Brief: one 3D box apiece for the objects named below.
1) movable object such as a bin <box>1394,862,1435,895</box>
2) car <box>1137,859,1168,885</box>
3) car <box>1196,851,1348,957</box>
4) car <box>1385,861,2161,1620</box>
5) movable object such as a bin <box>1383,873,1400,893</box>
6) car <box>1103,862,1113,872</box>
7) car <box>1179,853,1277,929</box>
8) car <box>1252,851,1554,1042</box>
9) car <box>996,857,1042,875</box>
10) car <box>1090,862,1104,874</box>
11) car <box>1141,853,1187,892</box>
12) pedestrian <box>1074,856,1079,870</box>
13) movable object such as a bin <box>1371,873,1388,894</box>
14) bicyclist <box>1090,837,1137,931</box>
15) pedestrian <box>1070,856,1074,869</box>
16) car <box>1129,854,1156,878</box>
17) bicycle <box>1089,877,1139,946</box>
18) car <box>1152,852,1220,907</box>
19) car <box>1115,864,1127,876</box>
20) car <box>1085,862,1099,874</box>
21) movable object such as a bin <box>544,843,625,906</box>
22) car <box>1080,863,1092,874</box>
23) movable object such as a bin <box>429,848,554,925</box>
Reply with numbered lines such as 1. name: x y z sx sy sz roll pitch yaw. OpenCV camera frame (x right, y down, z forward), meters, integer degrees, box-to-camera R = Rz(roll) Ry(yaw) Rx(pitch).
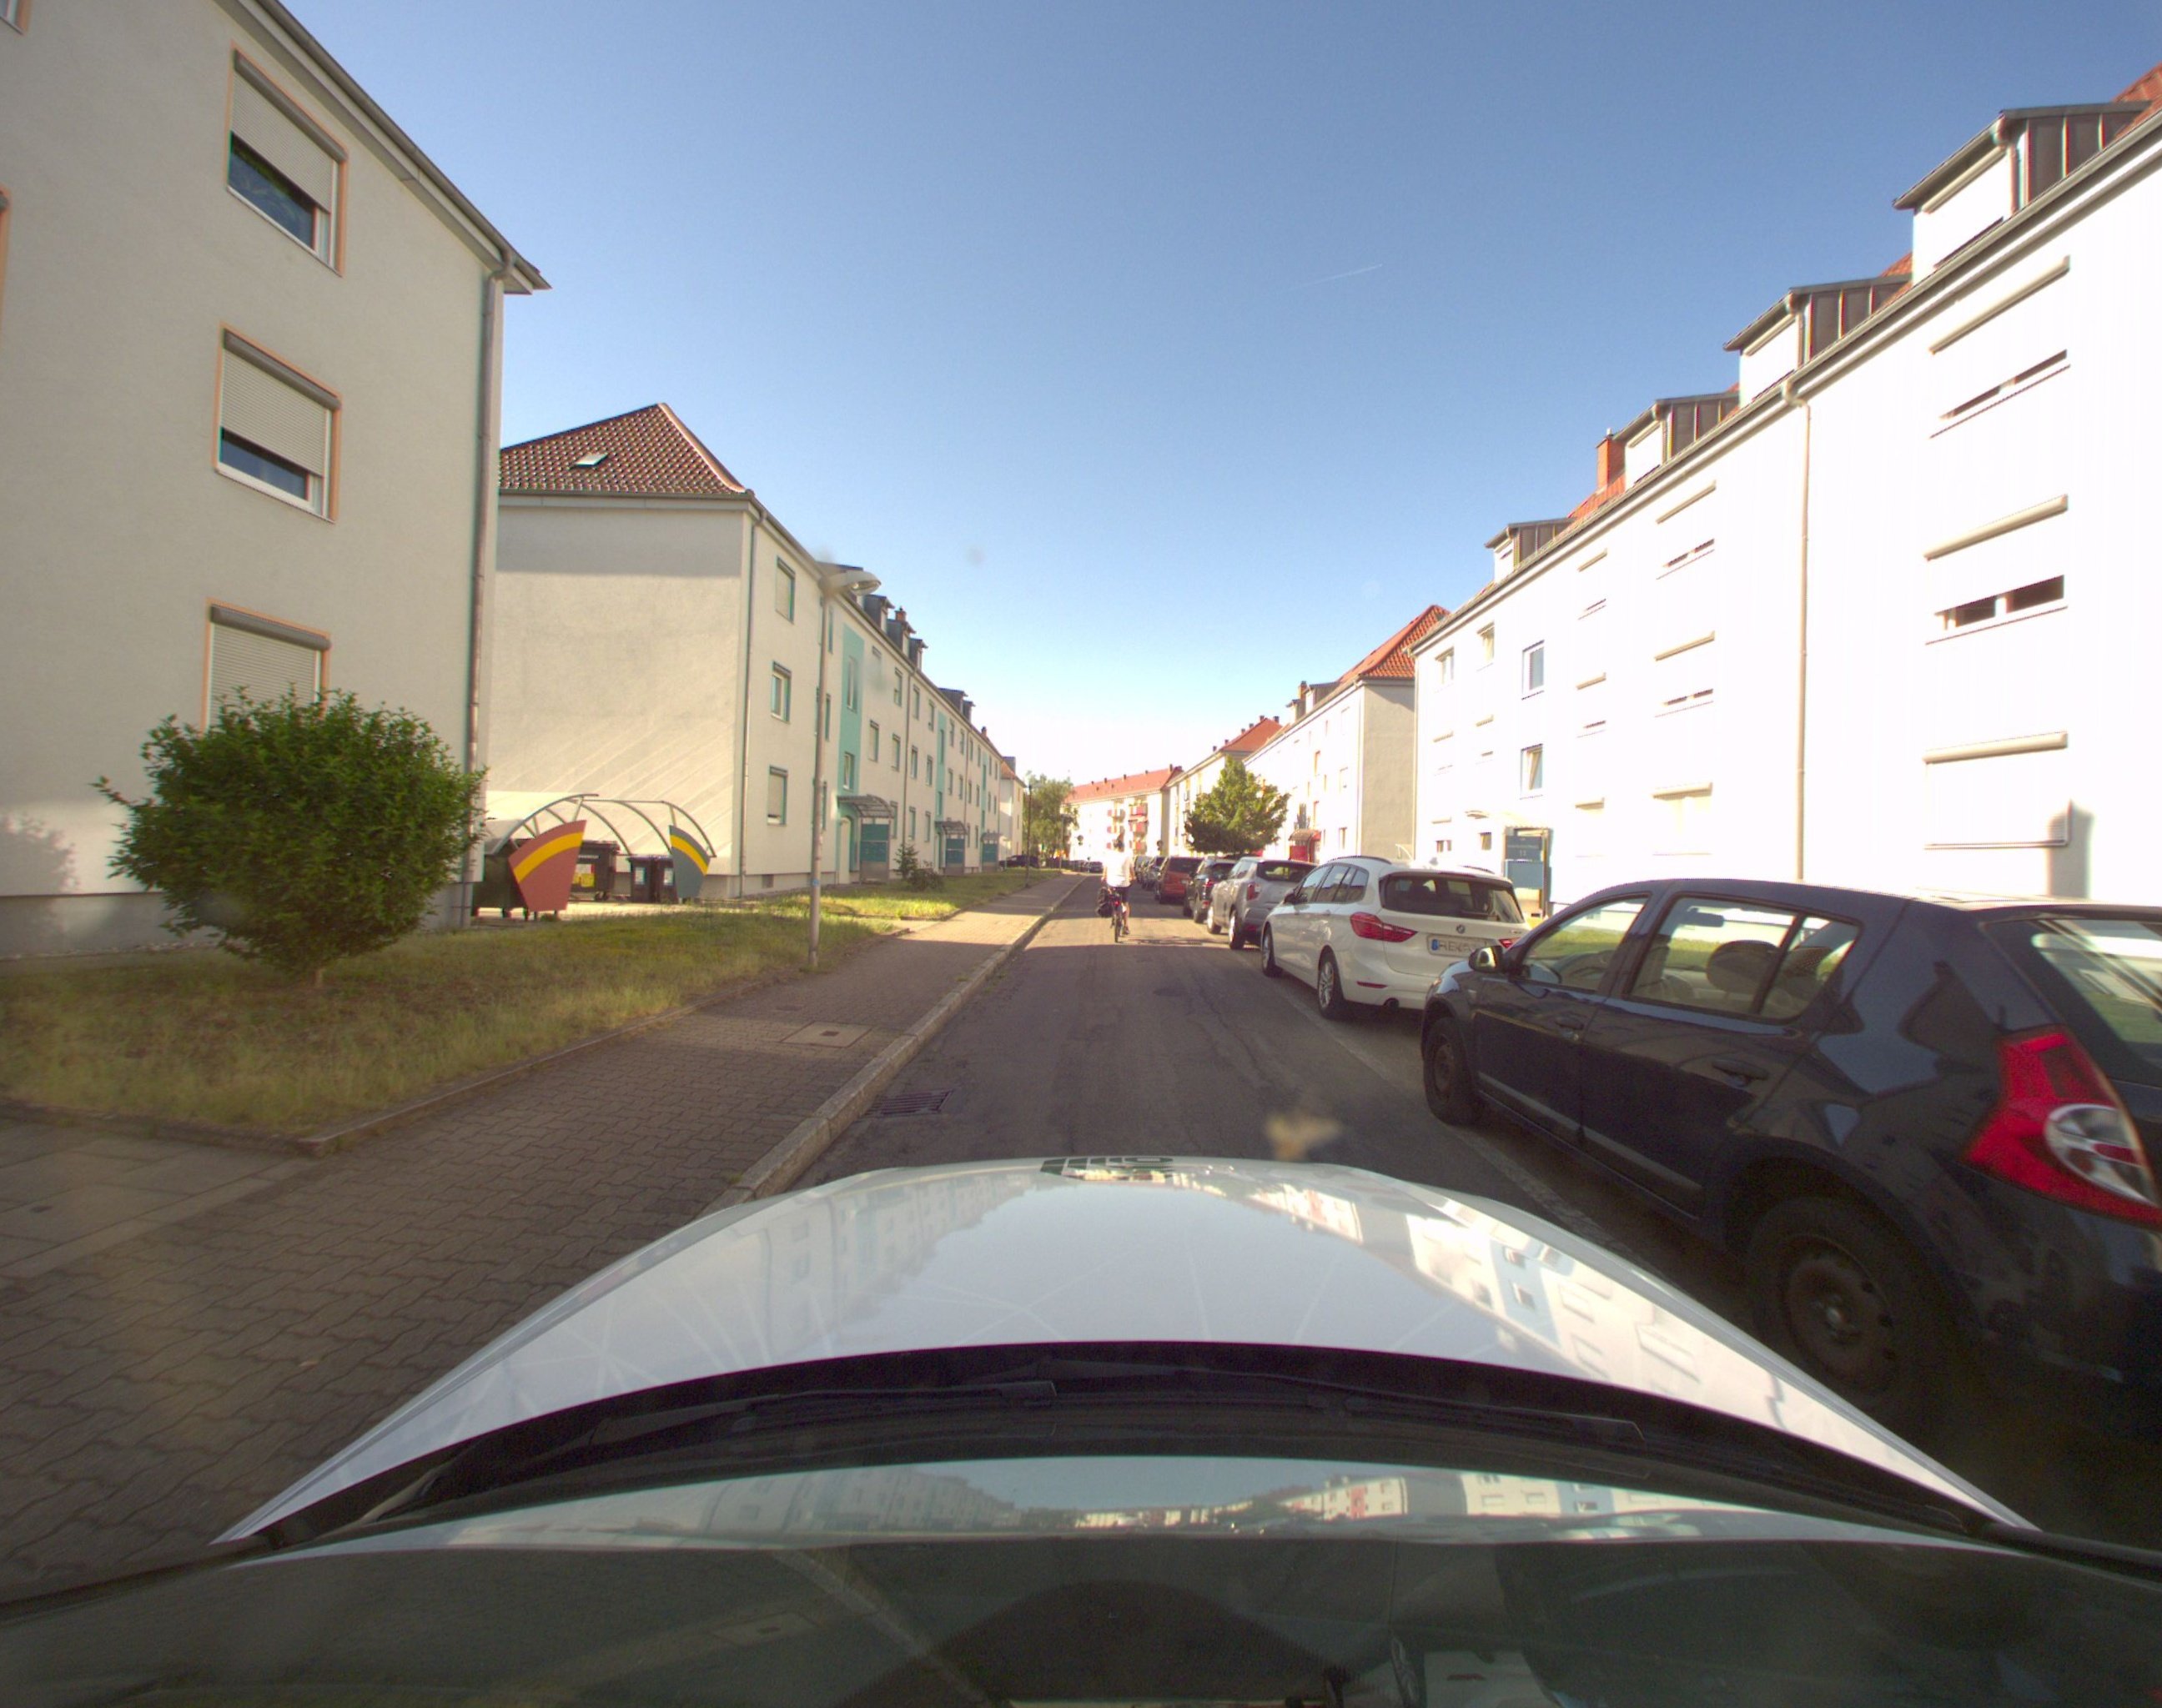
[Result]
1. movable object such as a bin: 14.722 1.074 35.988 1.355 1.416 1.188 1 -1 1
2. car: 4.190 1.045 48.072 1.553 1.411 3.935 2 0 2
3. car: 3.394 0.806 15.357 1.745 1.617 4.451 4 0 0
4. car: 2.890 0.809 3.704 1.635 1.498 4.159 1 0 3
5. movable object such as a bin: 13.774 1.287 36.087 0.521 0.886 0.633 1 0 2
6. car: 4.096 1.998 124.529 1.465 1.516 3.076 2 0 0
7. car: 3.579 0.846 20.566 1.706 1.595 4.399 4 0 1
8. car: 3.237 0.797 9.231 1.684 1.575 4.435 2 0 1
9. car: -5.827 1.146 76.847 4.221 1.638 1.581 1 0 -3
10. car: 1.854 1.668 95.444 1.466 1.335 3.137 -2 0 -3
11. car: 3.883 0.853 38.819 1.695 1.671 4.379 3 0 0
12. pedestrian: -0.509 1.015 91.635 0.432 1.574 0.543 1 0 1
13. movable object such as a bin: 13.220 1.291 36.114 0.521 0.886 0.633 1 0 2
14. bicyclist: 0.576 0.533 14.857 0.806 1.643 0.898 0 -1 -1
15. pedestrian: -1.007 0.995 91.613 0.432 1.427 0.543 1 0 1
16. car: 4.691 0.877 62.325 1.669 1.739 3.942 2 0 0
17. bicycle: 0.574 1.004 14.829 0.806 1.128 2.101 0 0 -1
18. car: 3.559 0.832 28.233 1.855 1.668 4.128 3 0 2
19. car: 5.519 2.162 111.917 1.377 1.497 3.076 2 0 0
20. car: 1.316 1.684 99.830 1.465 1.335 3.138 -2 0 -2
21. movable object such as a bin: -10.984 0.448 18.050 1.250 1.356 0.903 1 -1 -10
22. car: 0.697 1.882 106.507 1.465 1.335 3.139 -2 0 -1
23. movable object such as a bin: -9.499 0.512 13.167 1.309 1.168 0.910 1 0 1
